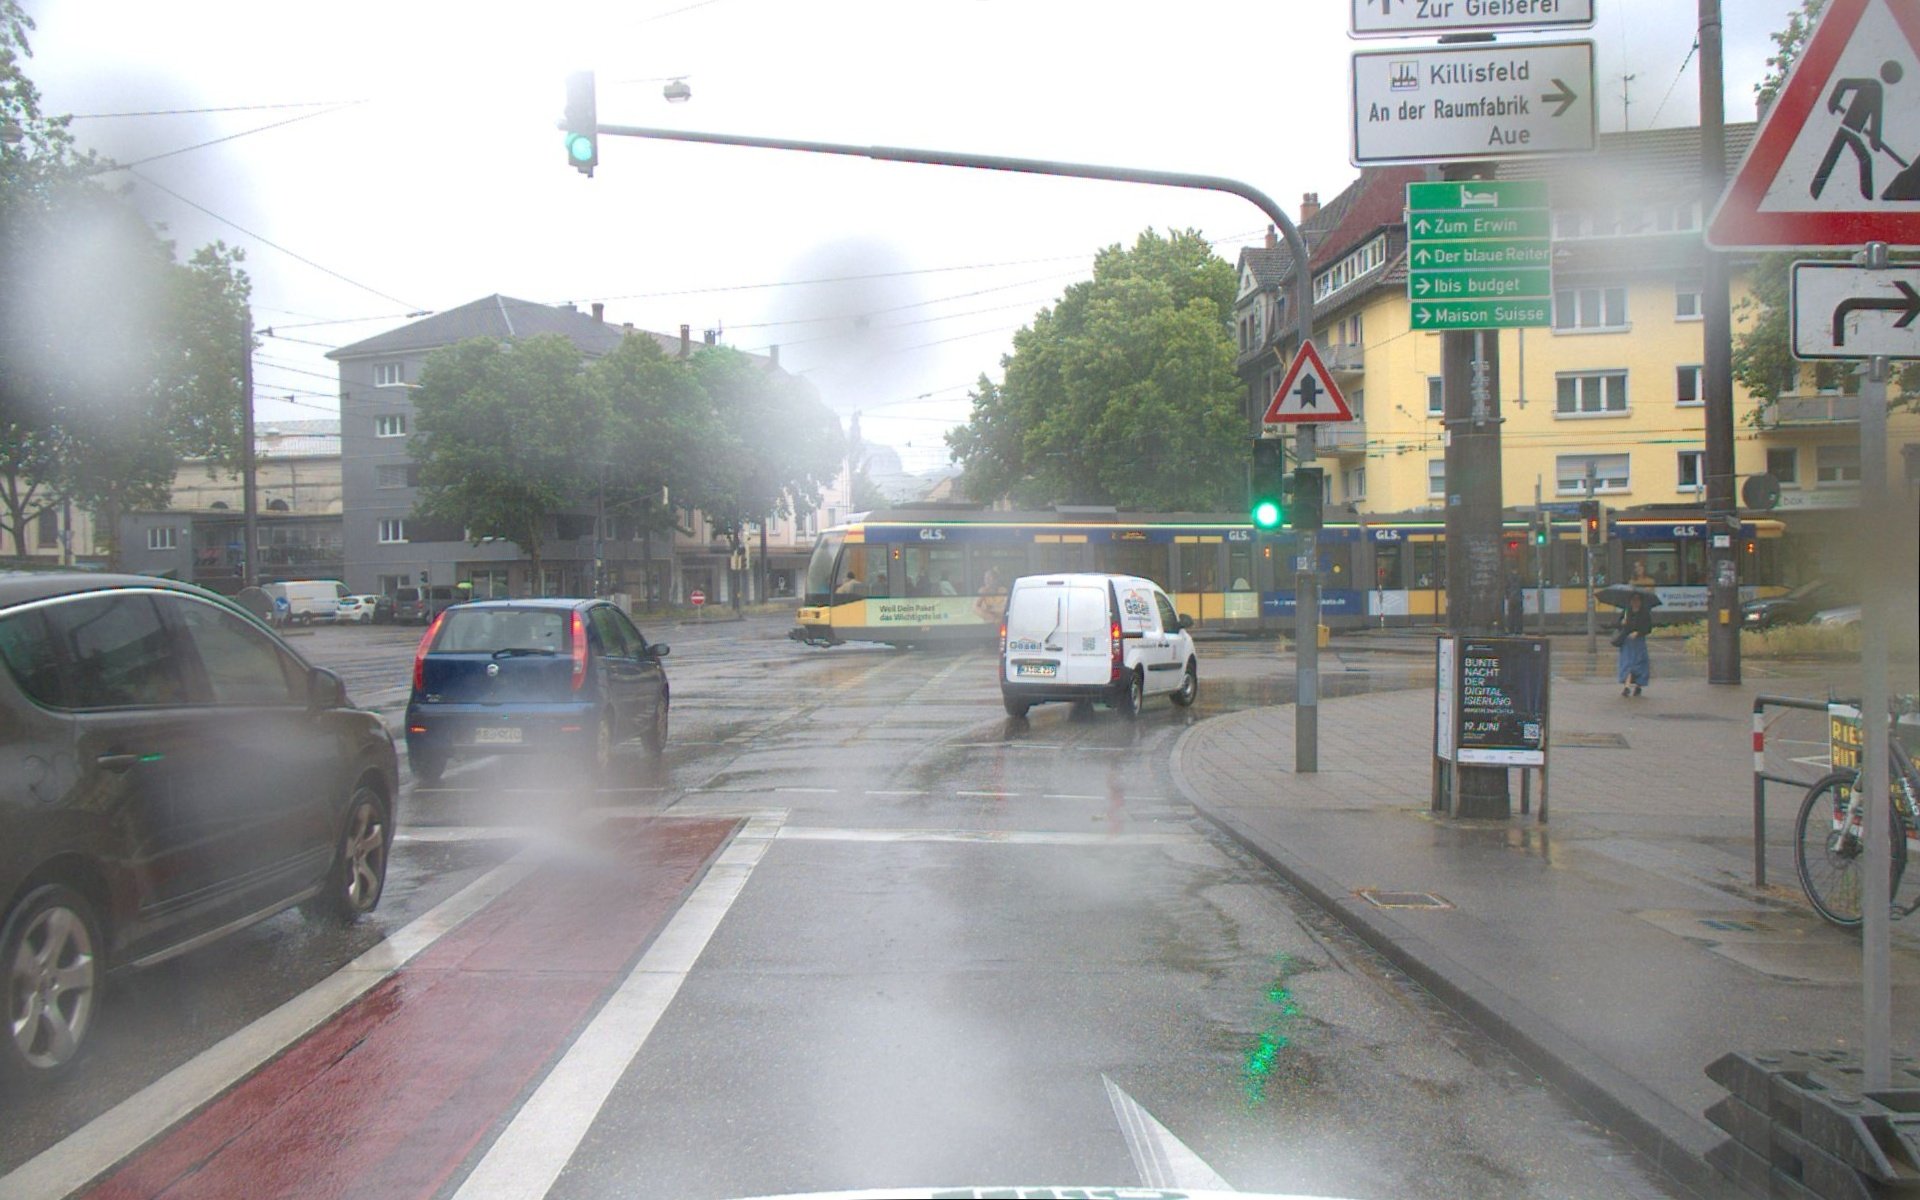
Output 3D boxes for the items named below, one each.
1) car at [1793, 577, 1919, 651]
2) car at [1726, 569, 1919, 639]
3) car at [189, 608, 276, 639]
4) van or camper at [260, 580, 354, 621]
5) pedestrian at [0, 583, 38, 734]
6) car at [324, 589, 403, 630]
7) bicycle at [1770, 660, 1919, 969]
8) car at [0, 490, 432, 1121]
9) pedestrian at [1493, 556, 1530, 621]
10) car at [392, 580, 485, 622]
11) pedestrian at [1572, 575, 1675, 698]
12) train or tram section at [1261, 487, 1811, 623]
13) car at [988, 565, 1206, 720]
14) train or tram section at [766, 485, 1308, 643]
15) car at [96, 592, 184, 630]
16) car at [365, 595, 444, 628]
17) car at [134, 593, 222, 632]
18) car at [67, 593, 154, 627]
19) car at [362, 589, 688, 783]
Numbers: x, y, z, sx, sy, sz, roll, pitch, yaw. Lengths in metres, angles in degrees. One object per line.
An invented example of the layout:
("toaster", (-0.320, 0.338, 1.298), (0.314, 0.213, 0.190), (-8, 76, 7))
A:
("car", (20.754, 0.288, 36.002), (4.390, 1.515, 1.742), (-1, 1, 13))
("car", (20.657, 0.075, 39.194), (4.179, 1.528, 1.881), (-1, 1, 8))
("car", (-39.086, 1.273, 88.950), (1.953, 1.642, 3.998), (0, -1, 24))
("van or camper", (-34.284, 0.017, 86.972), (1.953, 2.111, 4.654), (0, 0, 22))
("pedestrian", (-10.696, 0.639, 18.296), (0.728, 1.638, 0.707), (-1, 1, -39))
("car", (-31.303, 0.459, 86.916), (1.951, 2.048, 4.003), (0, 1, 16))
("bicycle", (4.124, 0.908, 7.004), (0.413, 1.188, 1.792), (2, 1, -2))
("car", (-3.521, 0.527, 6.130), (1.764, 1.739, 4.191), (0, 1, 0))
("pedestrian", (14.615, -0.308, 43.816), (0.796, 1.706, 1.016), (0, 1, 25))
("car", (-26.643, 0.017, 84.692), (2.022, 2.048, 4.391), (1, 1, 29))
("pedestrian", (9.549, 0.501, 23.809), (1.087, 1.696, 0.991), (1, 1, 43))
("train or tram section", (15.817, -1.253, 46.097), (14.331, 3.620, 3.116), (0, 1, -2))
("car", (1.927, 0.463, 22.014), (1.864, 1.828, 4.114), (1, 2, 20))
("train or tram section", (2.292, -0.964, 42.615), (14.355, 3.620, 3.090), (-1, 1, -27))
("car", (-45.561, 0.599, 91.943), (1.958, 1.962, 3.989), (1, 1, 33))
("car", (-28.991, 0.604, 86.453), (1.909, 1.654, 4.002), (1, 0, 18))
("car", (-42.954, 0.683, 90.908), (1.956, 2.049, 3.993), (1, 0, 29))
("car", (-48.464, 0.571, 94.429), (1.956, 1.794, 3.994), (-1, 1, 29))
("car", (-3.648, 0.688, 14.604), (1.844, 1.485, 3.831), (0, -1, 0))
